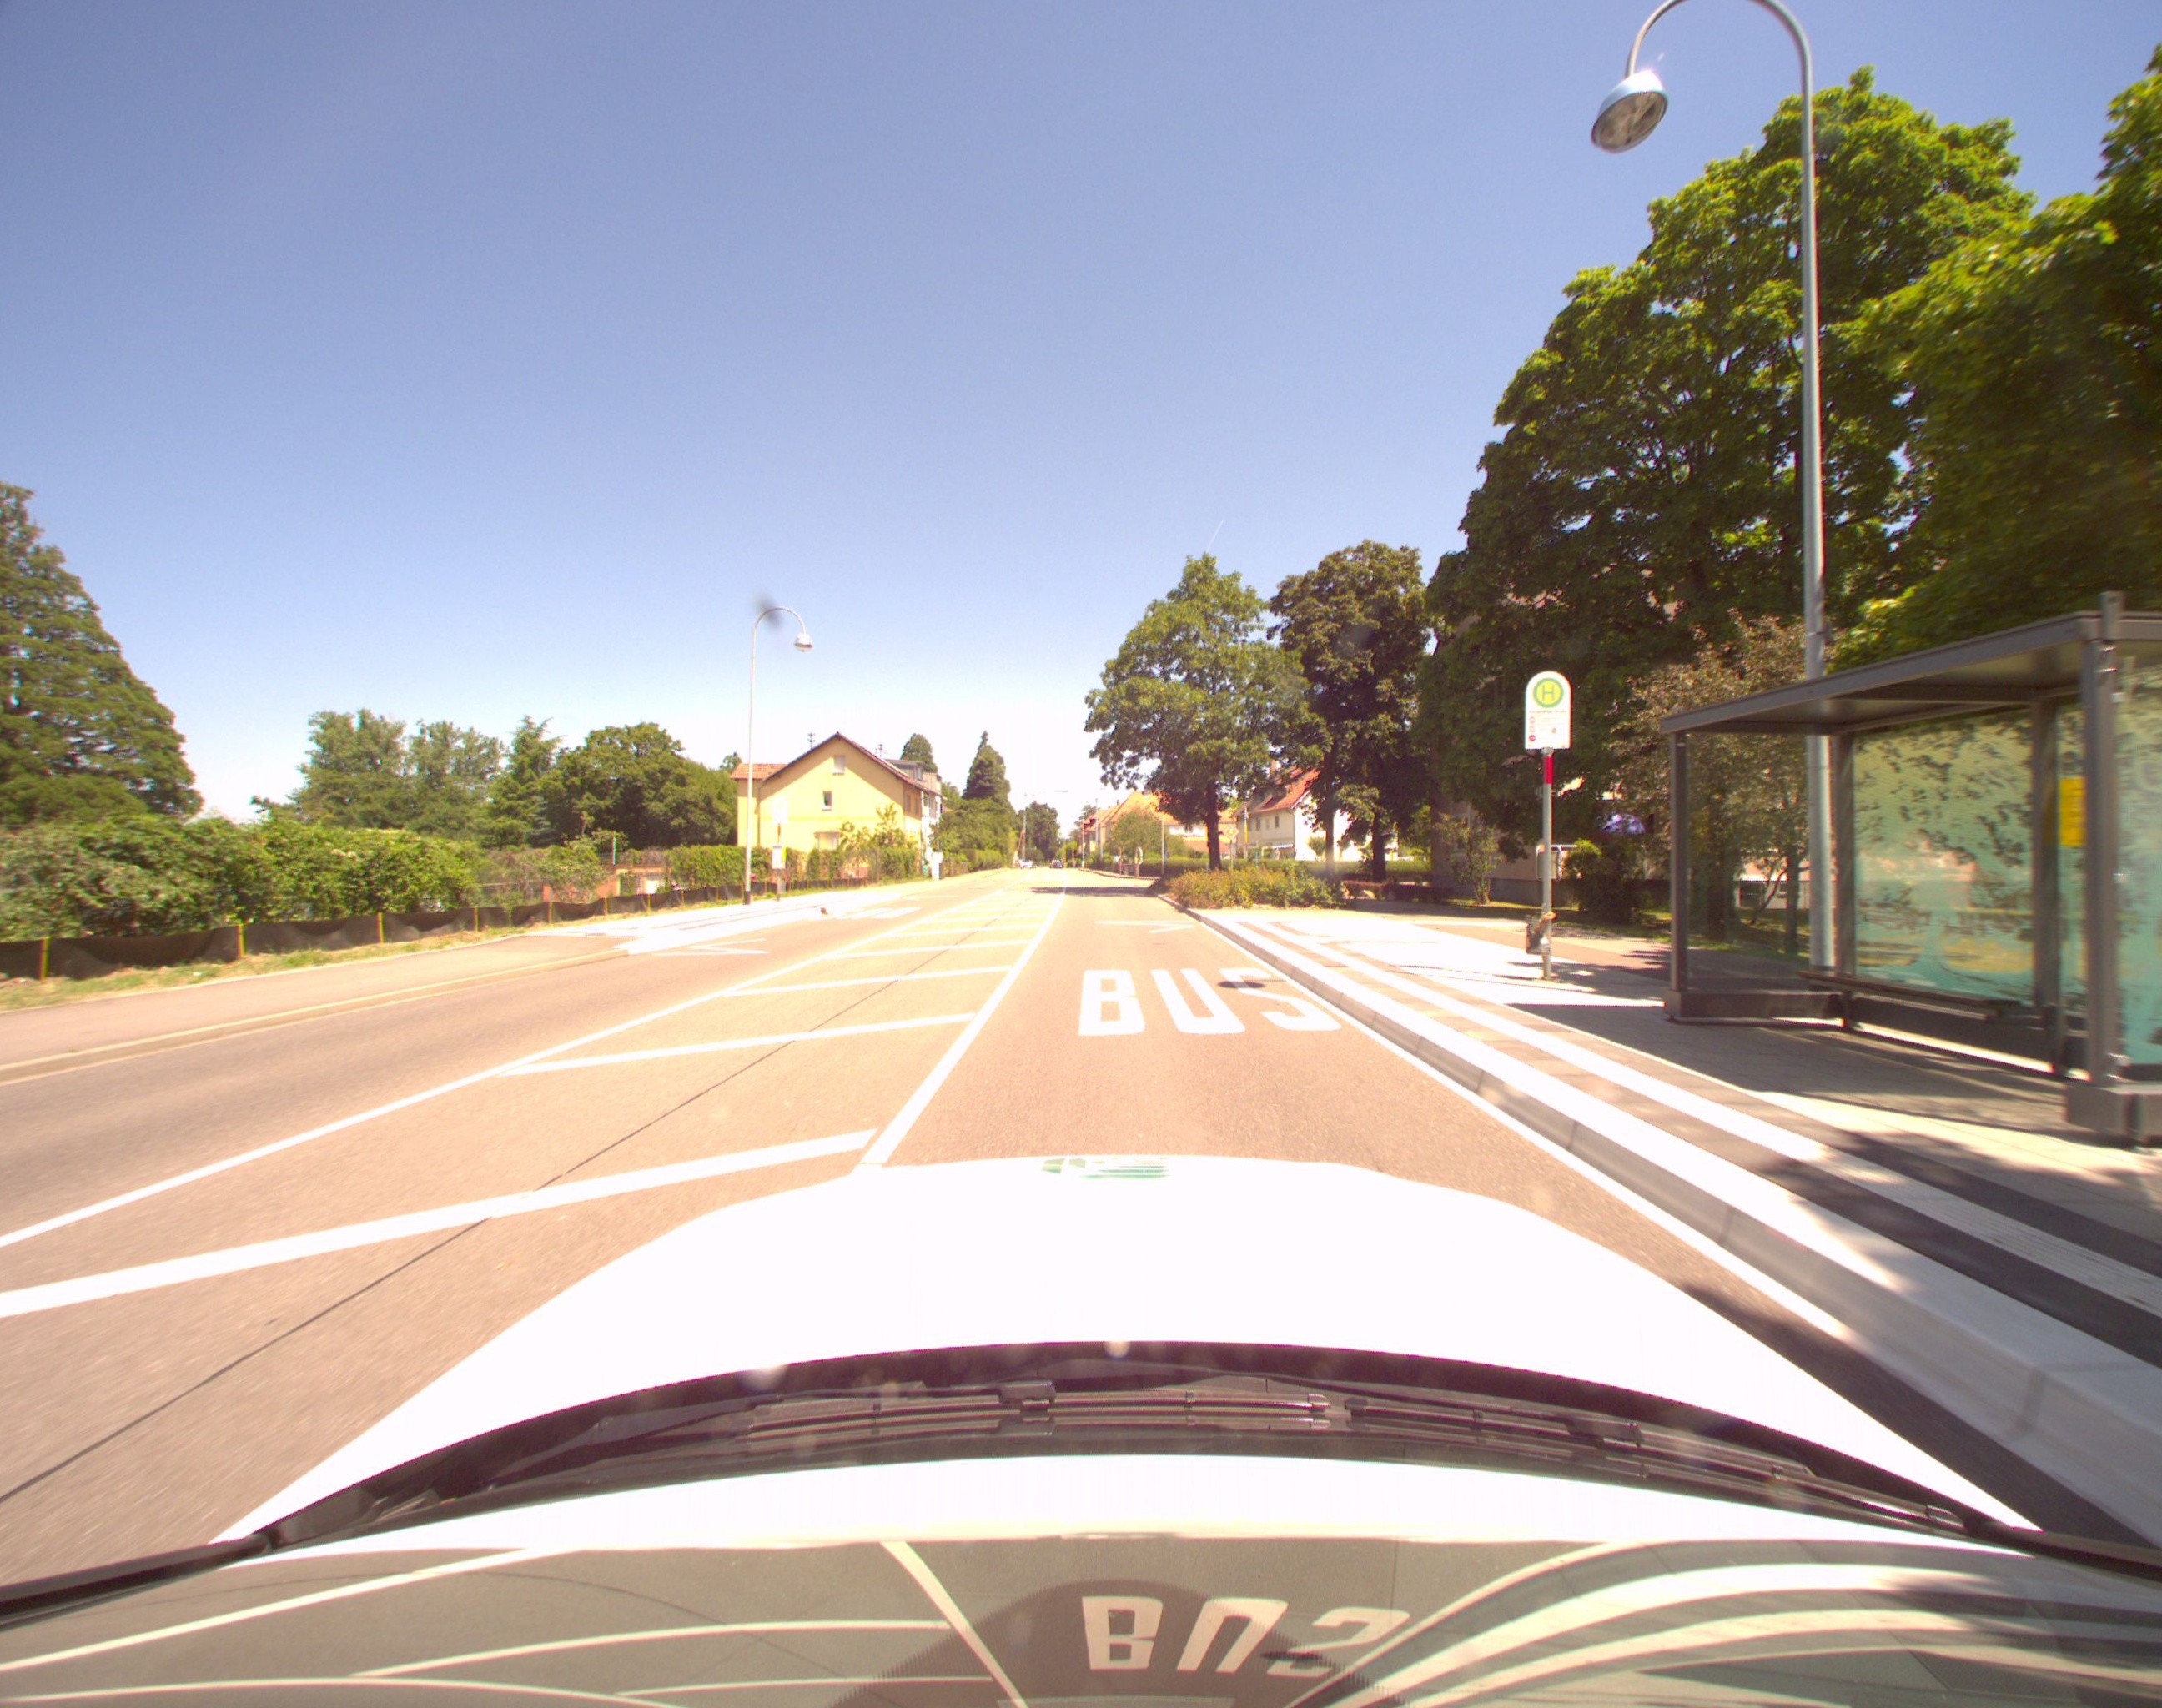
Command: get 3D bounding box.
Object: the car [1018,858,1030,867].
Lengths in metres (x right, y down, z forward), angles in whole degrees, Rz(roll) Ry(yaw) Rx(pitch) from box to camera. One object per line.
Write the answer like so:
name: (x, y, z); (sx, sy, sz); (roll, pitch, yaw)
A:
car: (-9.109, 1.280, 130.555); (1.676, 1.372, 4.203); (-1, 0, -2)

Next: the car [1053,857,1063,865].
car: (-4.494, 1.312, 156.647); (1.689, 1.419, 4.543); (0, -2, -4)

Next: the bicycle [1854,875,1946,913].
bicycle: (25.280, 1.223, 25.204); (0.720, 1.066, 2.186); (1, 0, 2)
